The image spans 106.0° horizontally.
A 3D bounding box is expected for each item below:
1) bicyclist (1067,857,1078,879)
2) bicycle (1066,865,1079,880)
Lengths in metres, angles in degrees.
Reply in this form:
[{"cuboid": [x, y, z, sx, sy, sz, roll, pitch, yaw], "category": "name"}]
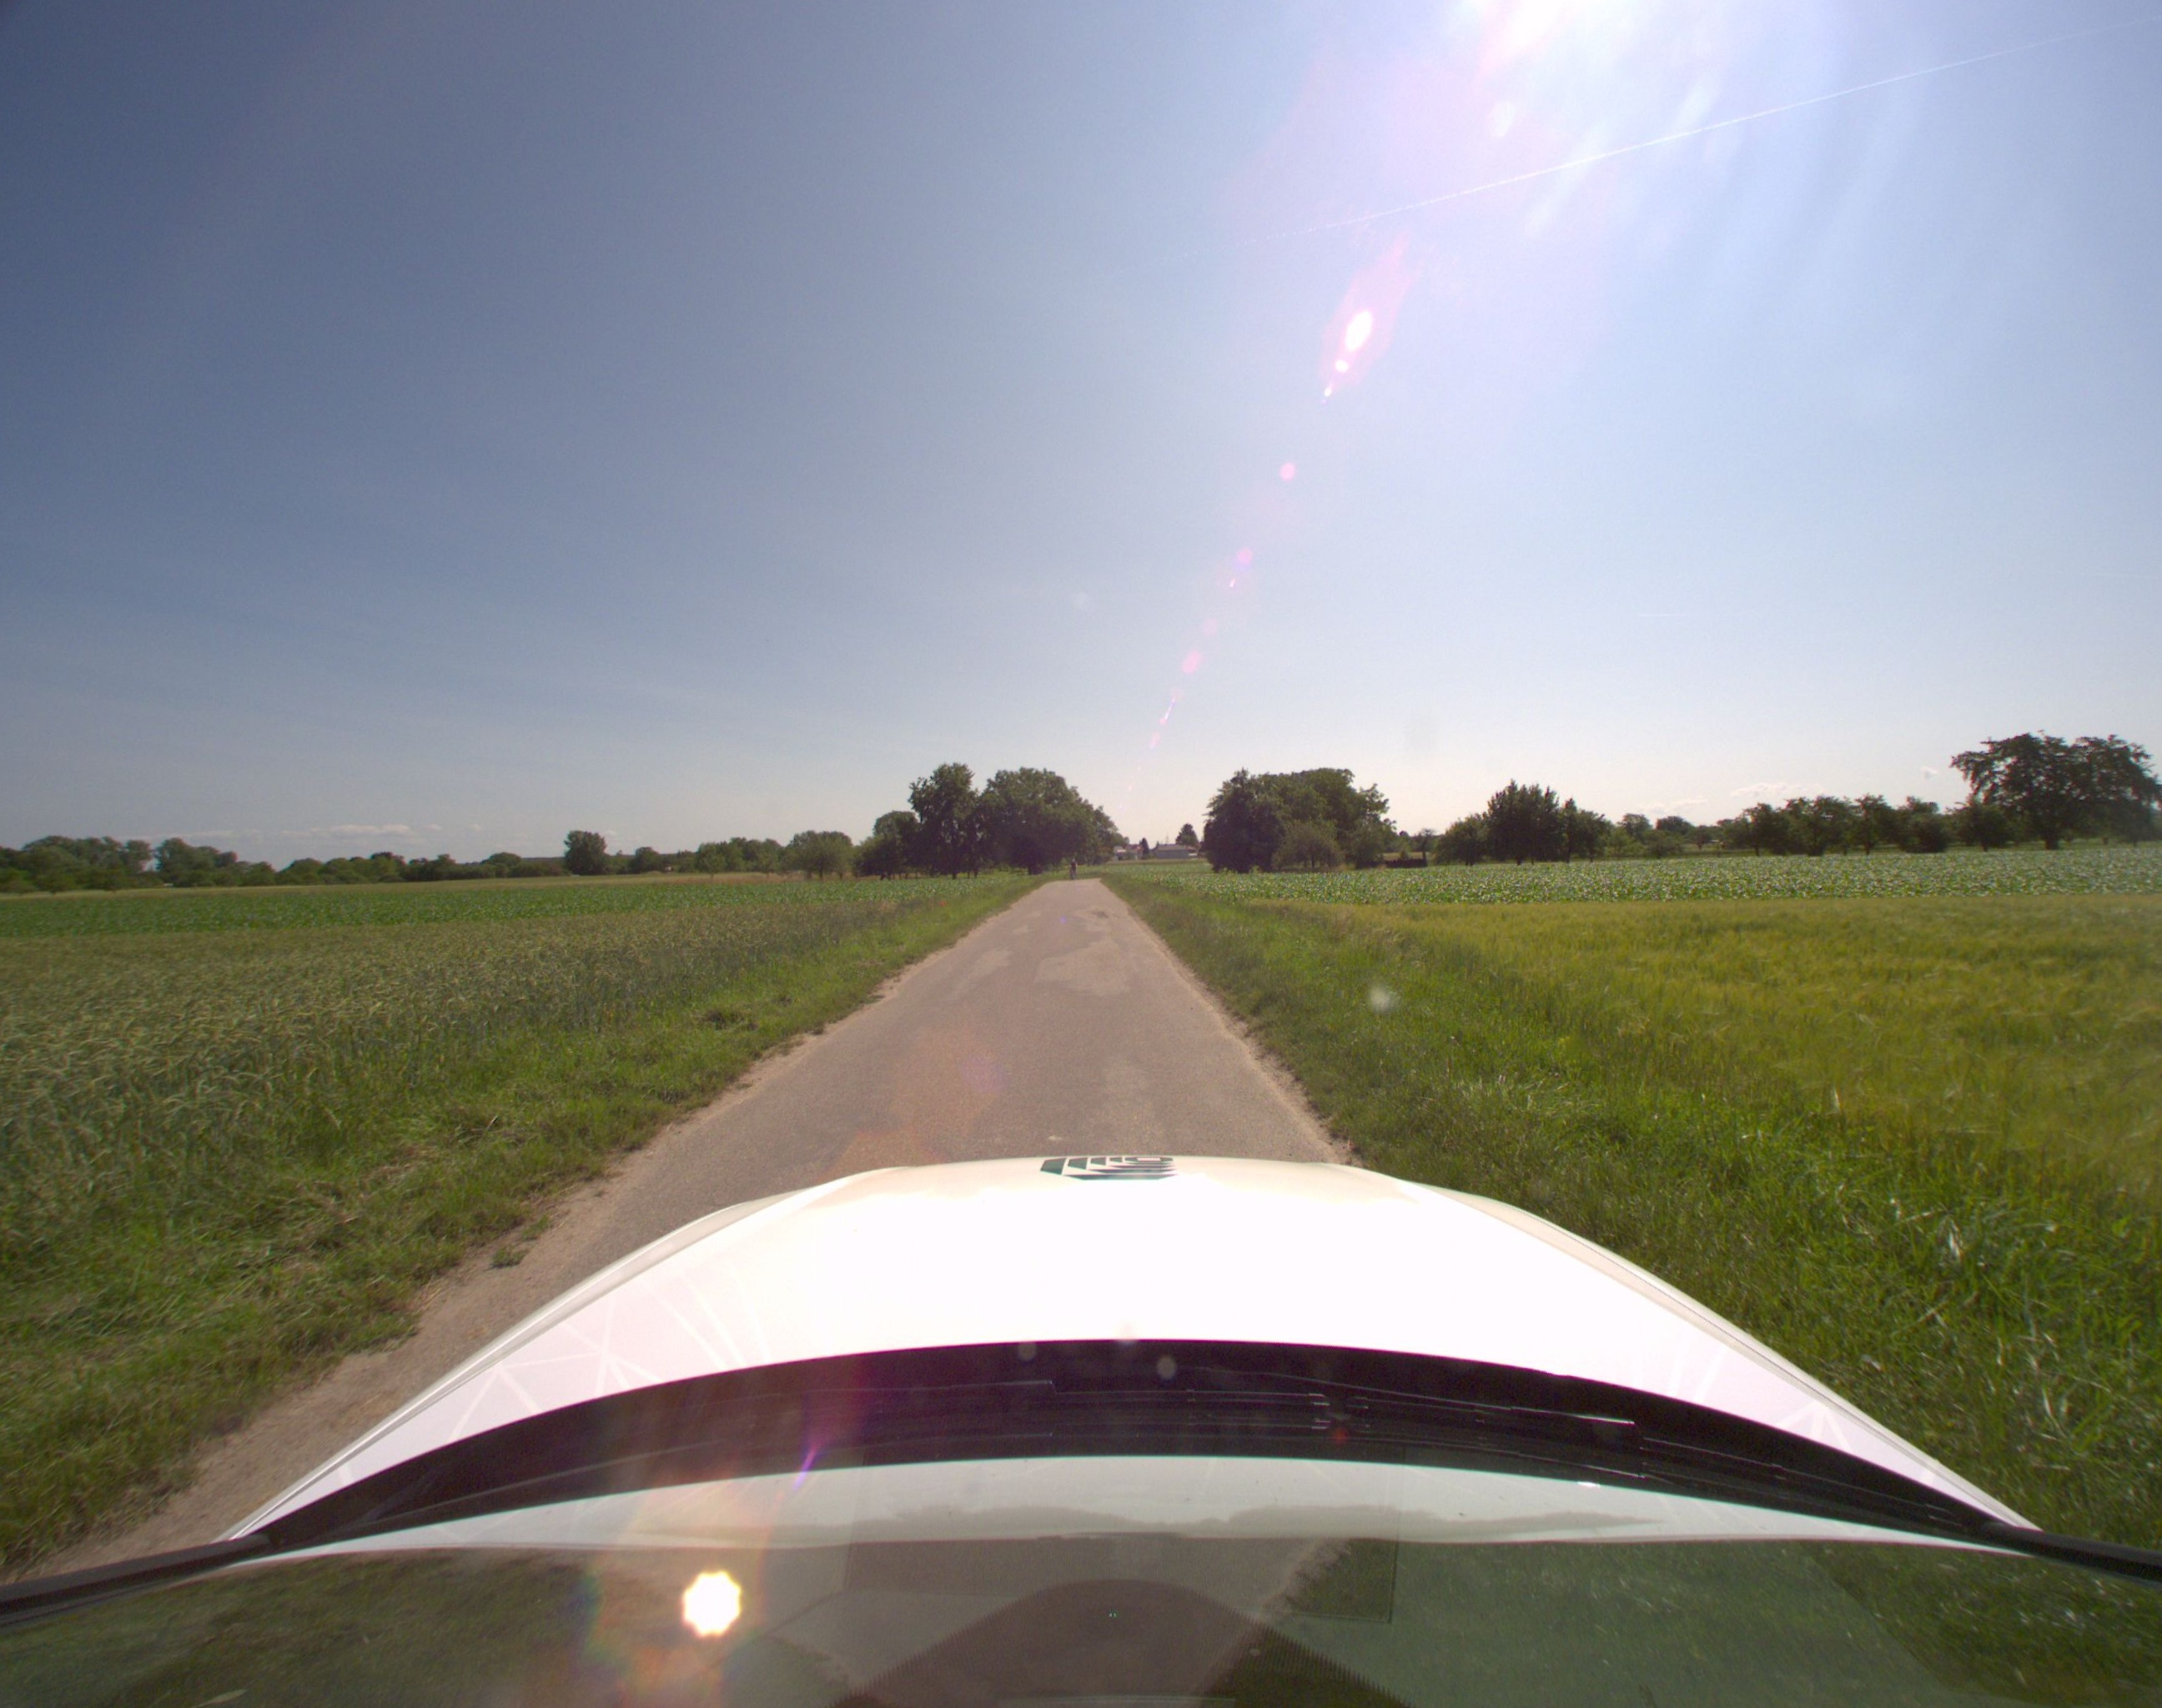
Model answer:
[{"cuboid": [-0.735, 1.208, 68.175, 0.746, 1.791, 0.718, -4, -1, 7], "category": "bicyclist"}, {"cuboid": [-0.720, 1.531, 68.167, 0.746, 1.127, 1.912, -4, -1, 8], "category": "bicycle"}]
